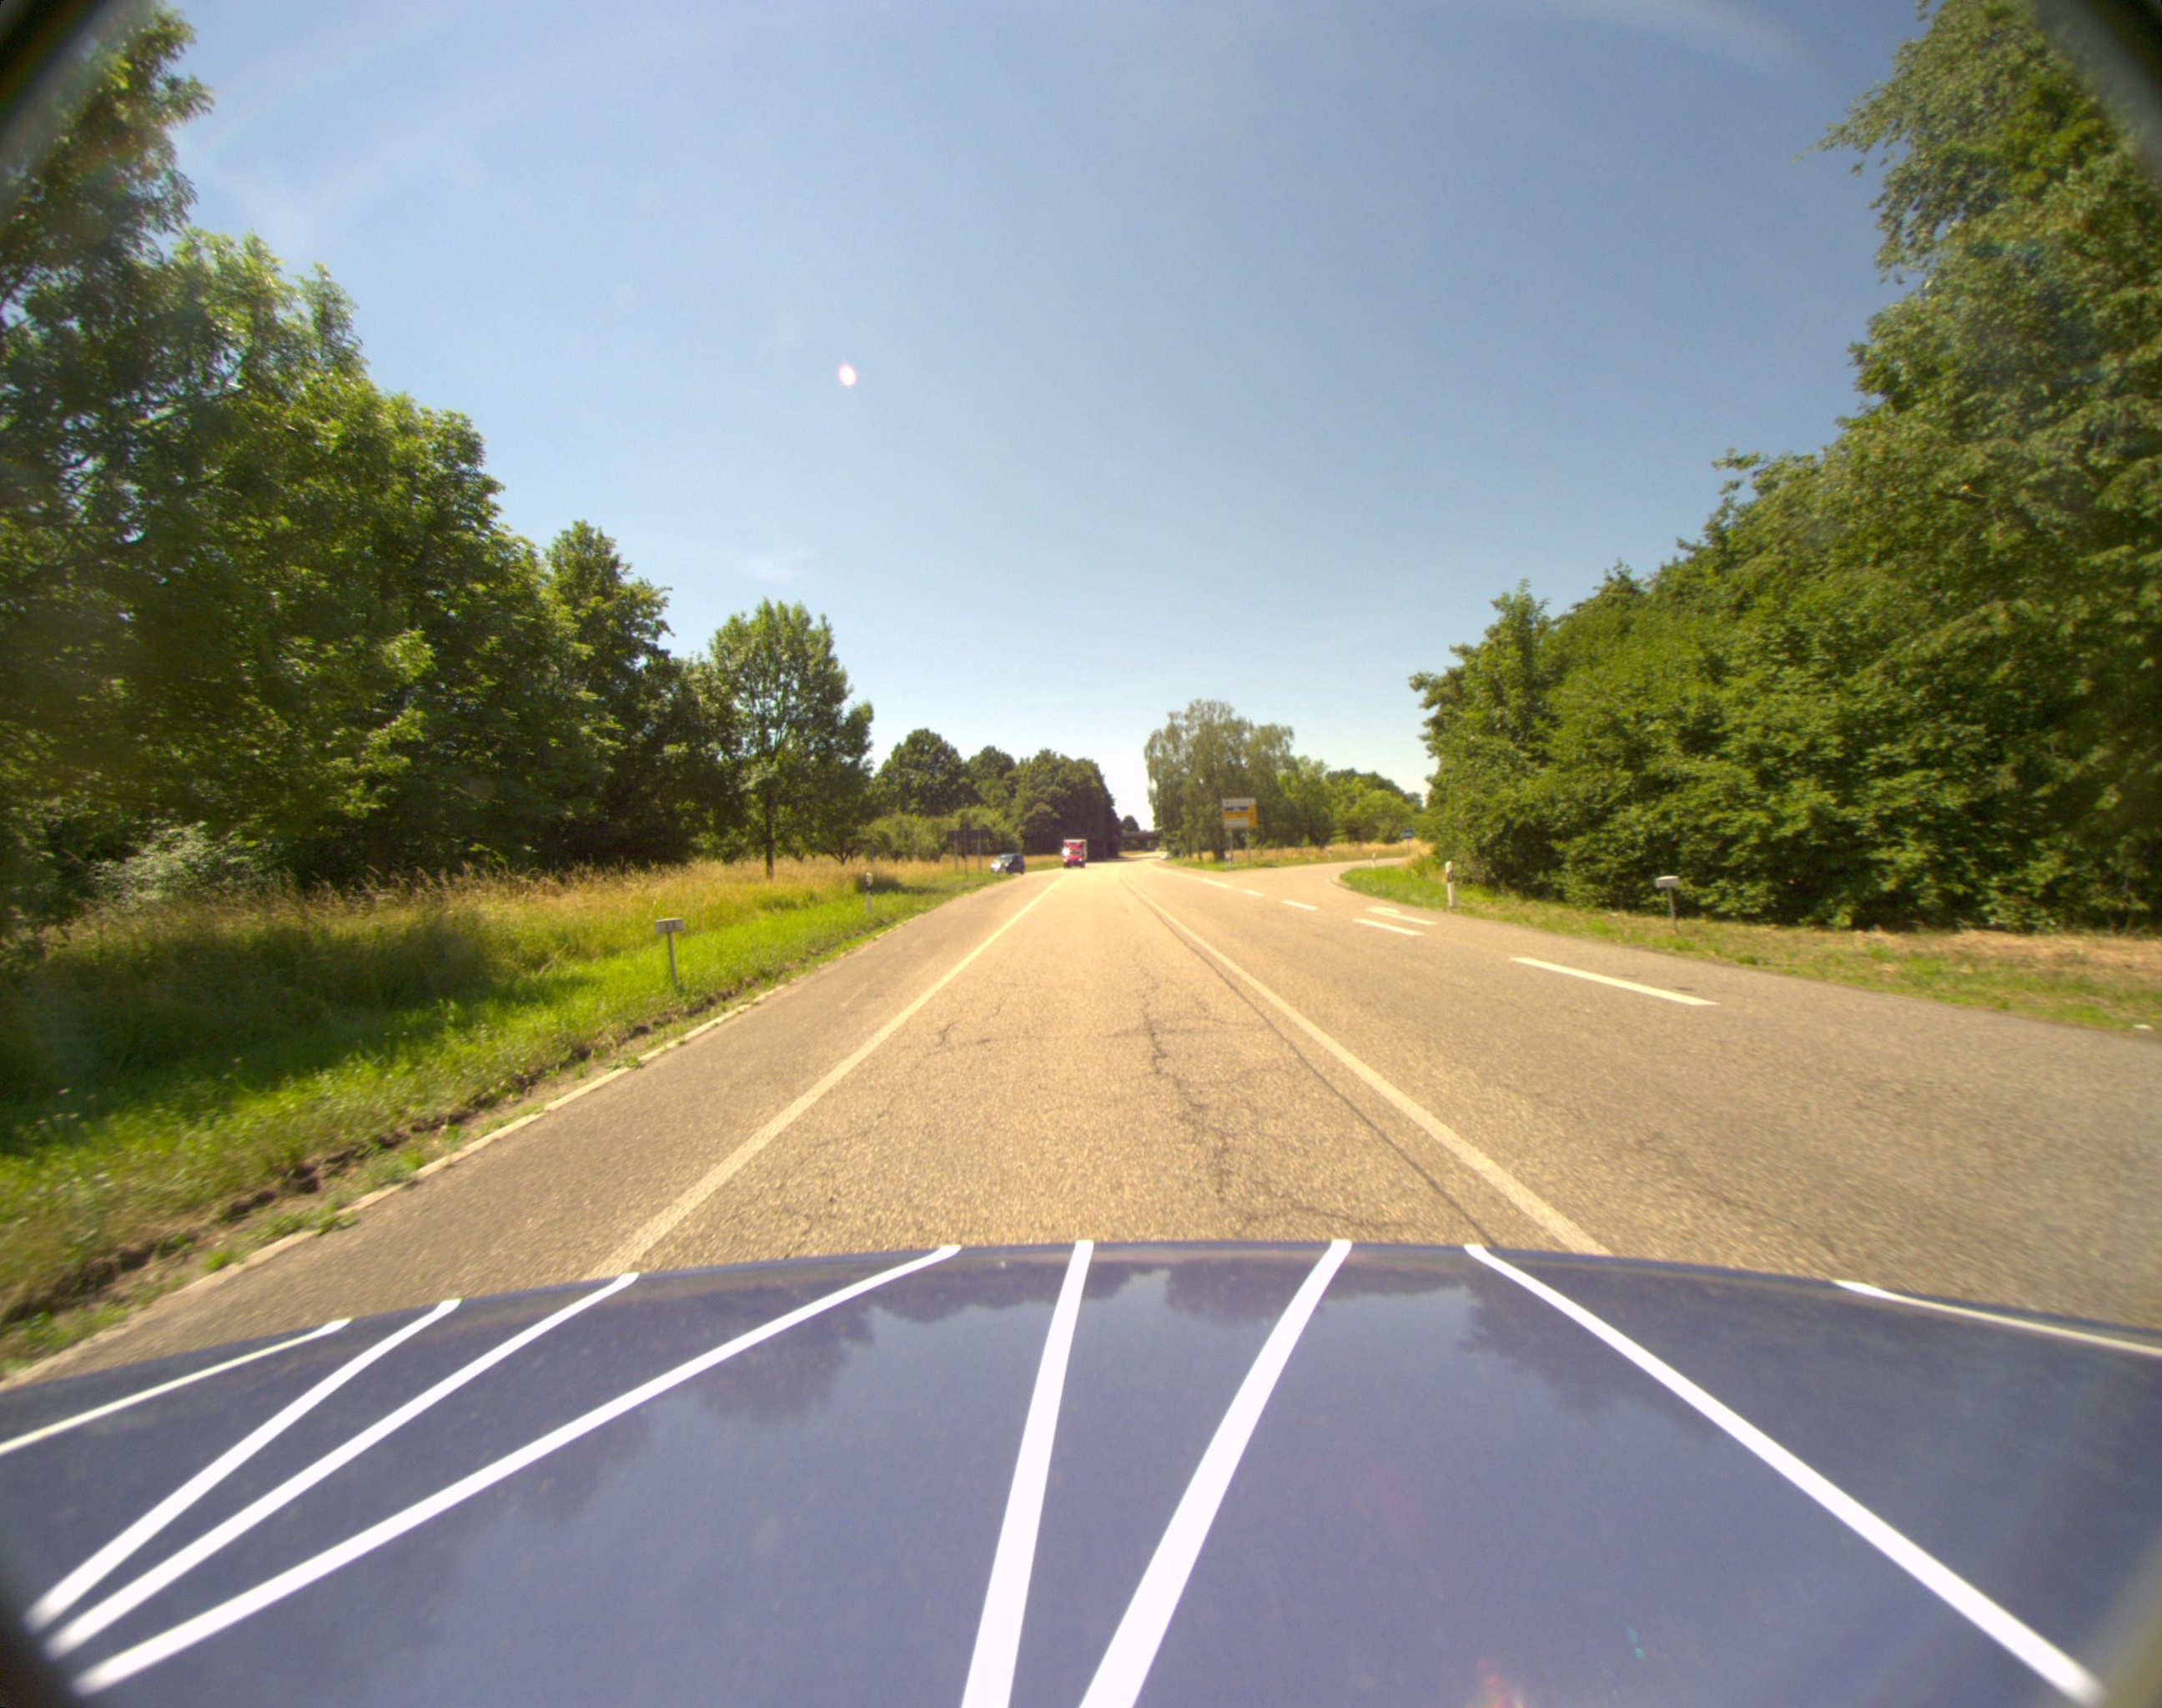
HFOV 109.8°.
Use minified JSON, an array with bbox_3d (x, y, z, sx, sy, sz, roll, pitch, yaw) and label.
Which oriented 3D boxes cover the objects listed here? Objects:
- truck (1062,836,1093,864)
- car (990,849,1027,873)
[{"bbox_3d":[-0.314,-0.478,85.234,2.456,2.927,6.977,-1,1,7],"label":"truck"},{"bbox_3d":[-5.942,0.558,62.692,1.744,1.833,4.004,1,1,16],"label":"car"}]
